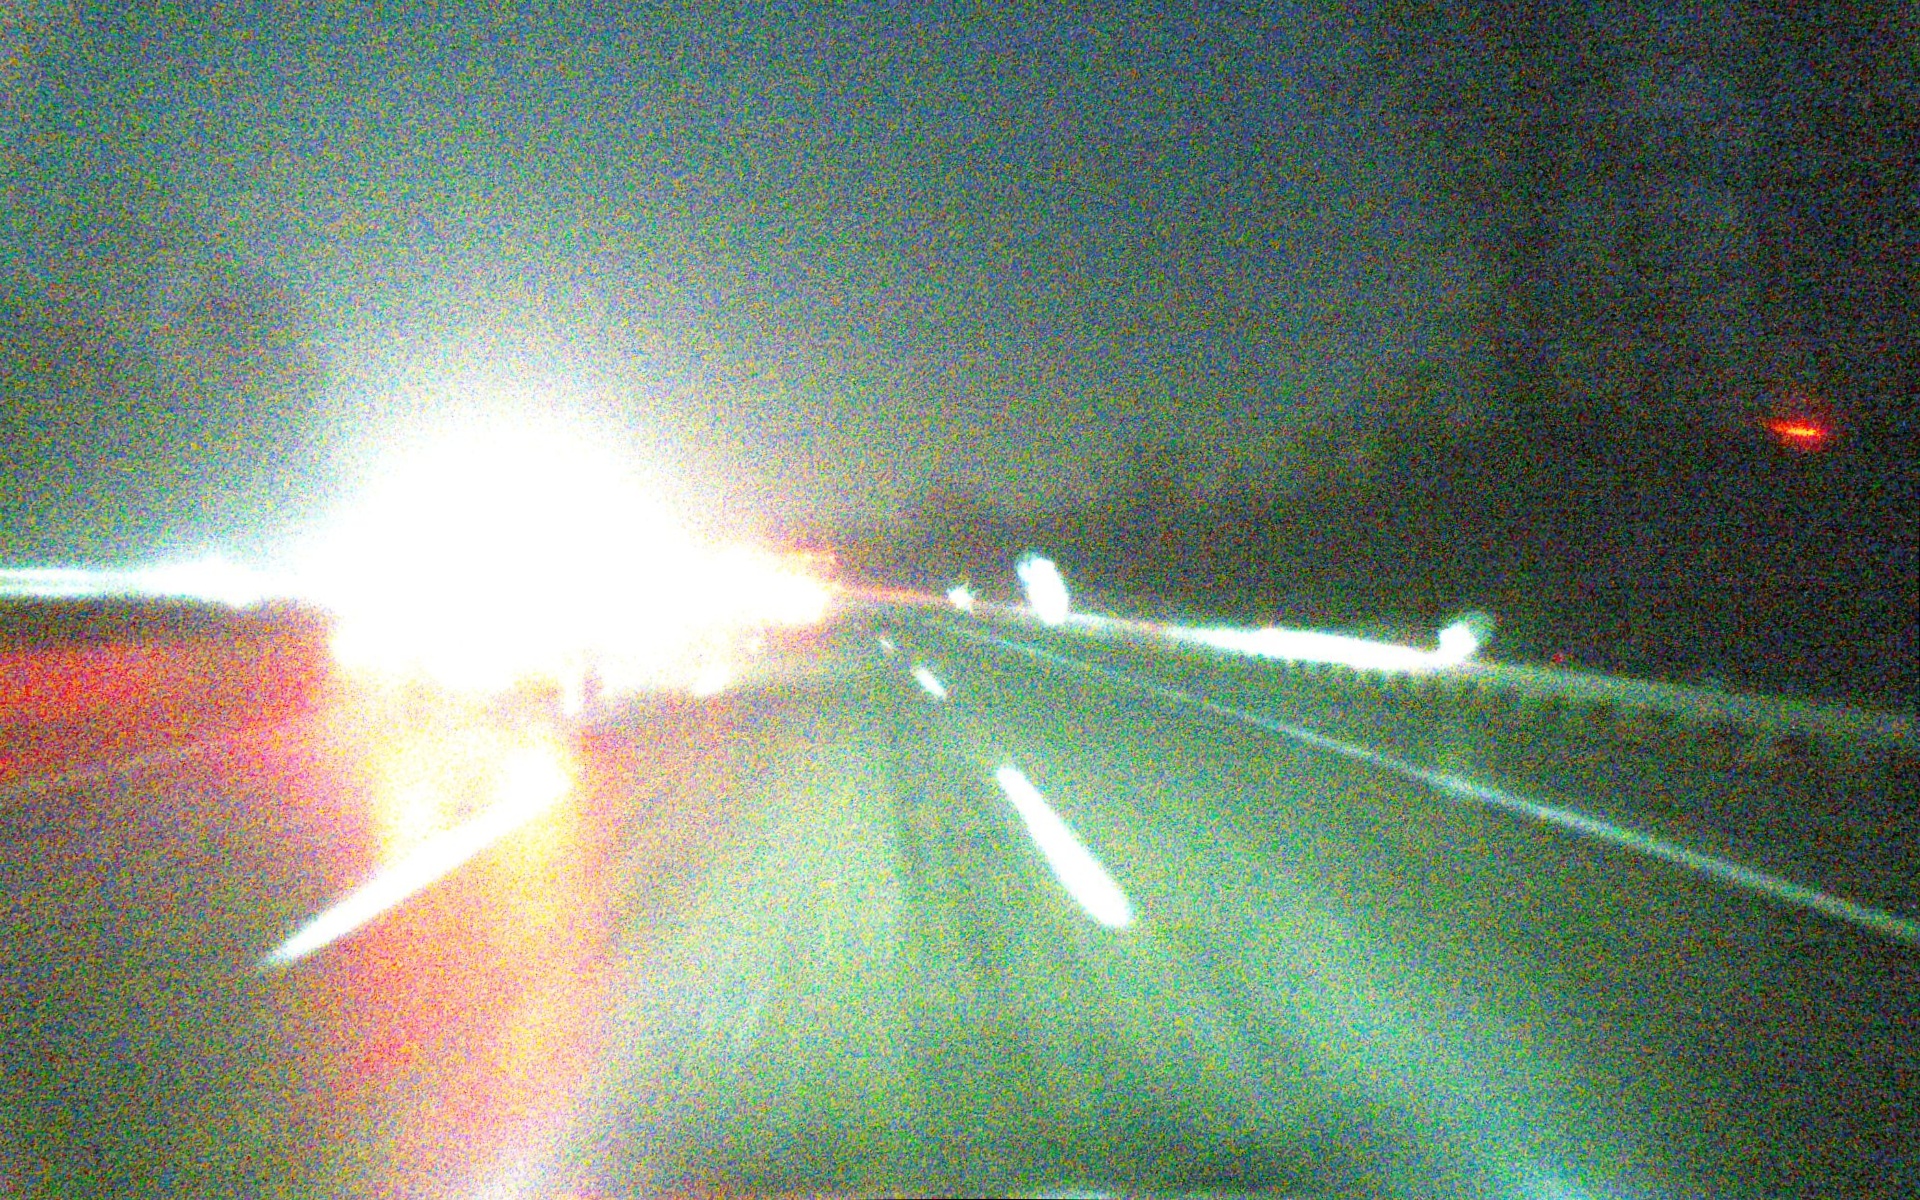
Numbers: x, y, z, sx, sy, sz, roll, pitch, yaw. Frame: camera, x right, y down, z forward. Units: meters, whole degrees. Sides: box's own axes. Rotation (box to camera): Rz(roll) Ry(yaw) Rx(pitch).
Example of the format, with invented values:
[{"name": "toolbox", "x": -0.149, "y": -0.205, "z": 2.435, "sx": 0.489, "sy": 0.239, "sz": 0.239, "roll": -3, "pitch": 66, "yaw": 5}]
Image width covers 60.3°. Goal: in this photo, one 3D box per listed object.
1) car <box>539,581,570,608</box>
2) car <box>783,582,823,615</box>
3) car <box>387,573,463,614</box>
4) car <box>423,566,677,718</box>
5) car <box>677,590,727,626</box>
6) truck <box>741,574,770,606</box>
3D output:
[{"name": "car", "x": -23.333, "y": -0.319, "z": 95.244, "sx": 1.545, "sy": 1.519, "sz": 3.988, "roll": 1, "pitch": 0, "yaw": -12}, {"name": "car", "x": -8.016, "y": -0.086, "z": 84.751, "sx": 1.766, "sy": 1.513, "sz": 3.998, "roll": 3, "pitch": 0, "yaw": -3}, {"name": "car", "x": -21.305, "y": -0.263, "z": 66.055, "sx": 1.954, "sy": 1.519, "sz": 3.997, "roll": 1, "pitch": 0, "yaw": -4}, {"name": "car", "x": -4.988, "y": 0.480, "z": 20.846, "sx": 1.820, "sy": 1.567, "sz": 4.751, "roll": 4, "pitch": 0, "yaw": 1}, {"name": "car", "x": -9.514, "y": 0.319, "z": 60.841, "sx": 1.632, "sy": 1.258, "sz": 3.751, "roll": 1, "pitch": -1, "yaw": -11}, {"name": "truck", "x": -20.640, "y": -0.955, "z": 166.637, "sx": 1.960, "sy": 3.096, "sz": 6.438, "roll": 1, "pitch": -1, "yaw": -15}]
